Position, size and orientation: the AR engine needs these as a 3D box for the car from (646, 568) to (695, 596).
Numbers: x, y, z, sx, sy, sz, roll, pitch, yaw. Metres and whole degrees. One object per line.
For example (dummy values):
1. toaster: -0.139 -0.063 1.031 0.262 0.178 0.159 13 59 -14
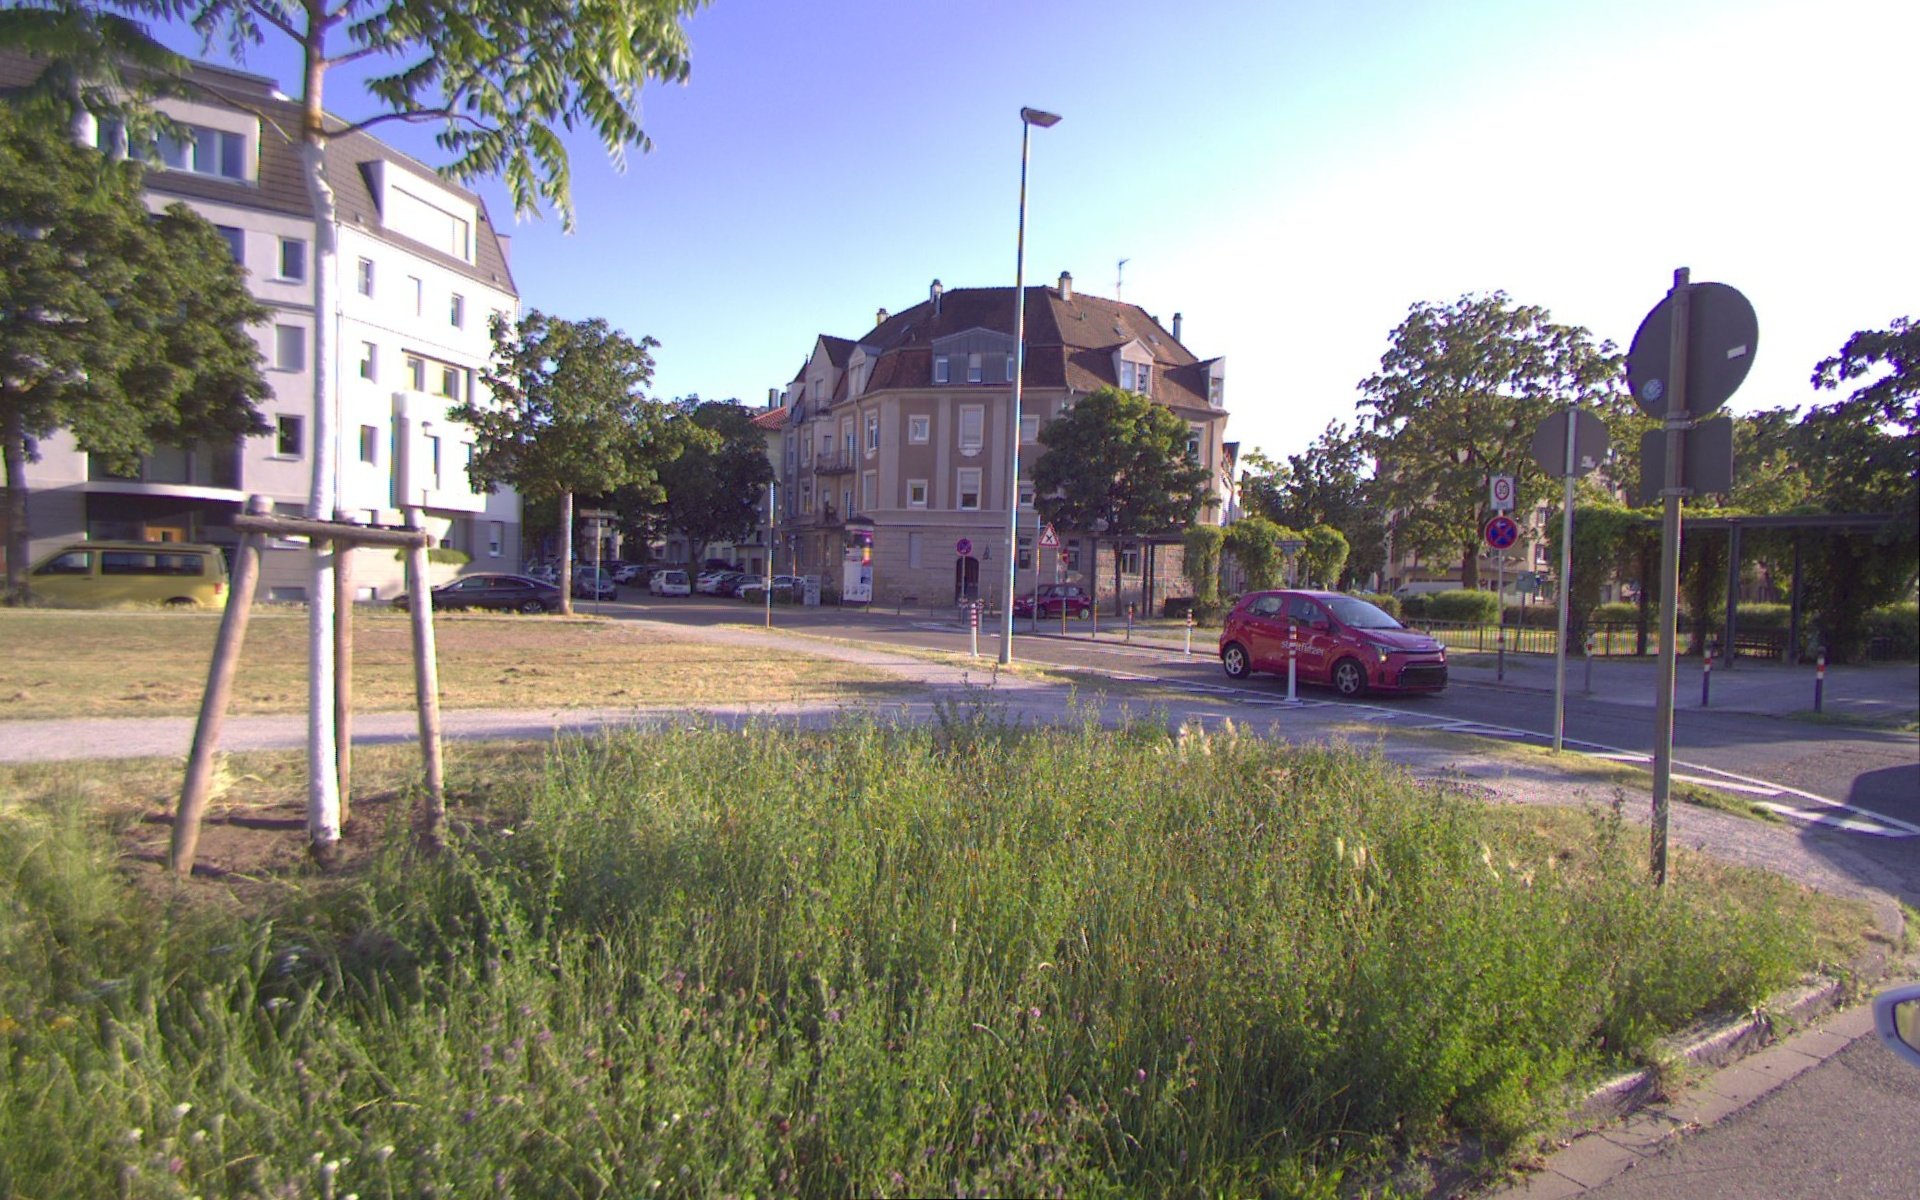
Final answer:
1. car: -16.401 -1.003 56.717 1.800 1.492 4.185 1 1 -28

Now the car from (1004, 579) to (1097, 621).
1. car: 4.341 0.006 48.055 4.039 1.764 1.797 1 3 -30

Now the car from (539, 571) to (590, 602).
1. car: -22.341 -0.786 56.700 1.870 1.612 4.052 1 1 -33

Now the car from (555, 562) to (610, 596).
1. car: -19.897 -1.124 52.858 1.870 1.612 4.052 1 1 -33

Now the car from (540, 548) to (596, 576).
1. car: -44.688 -4.291 114.505 5.501 3.008 2.449 1 2 -34

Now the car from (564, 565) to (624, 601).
1. car: -17.842 -0.845 48.872 1.870 1.612 4.052 1 1 -33

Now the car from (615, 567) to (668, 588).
1. car: -25.421 -1.768 80.217 3.701 1.579 1.710 1 2 -32

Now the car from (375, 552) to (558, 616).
1. car: -14.706 -0.449 30.035 4.783 1.691 1.774 2 1 -31

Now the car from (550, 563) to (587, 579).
1. car: -43.168 -3.200 110.829 3.568 1.682 1.634 1 2 -33

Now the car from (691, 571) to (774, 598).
1. car: -13.681 -0.948 60.477 4.449 1.546 1.933 -1 4 -37

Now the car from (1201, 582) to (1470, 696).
1. car: 5.721 0.529 15.766 1.748 1.546 3.746 2 0 -27

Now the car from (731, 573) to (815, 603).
1. car: -10.026 -0.637 53.899 4.017 1.526 1.845 1 2 -32

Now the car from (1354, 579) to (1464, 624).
1. car: 30.472 0.066 68.275 6.570 2.781 2.313 3 1 31

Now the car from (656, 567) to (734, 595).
1. car: -16.972 -1.199 64.337 4.491 1.663 1.857 1 2 -32

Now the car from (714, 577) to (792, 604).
1. car: -11.990 -0.550 58.231 4.110 1.467 1.658 0 2 -32

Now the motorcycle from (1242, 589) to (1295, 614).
1. motorcycle: 19.380 0.074 63.196 0.847 1.507 3.191 2 0 -42

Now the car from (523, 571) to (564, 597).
1. car: -25.374 -0.980 61.182 1.743 1.467 4.108 2 1 -30

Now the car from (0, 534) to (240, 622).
1. car: -21.523 -0.532 25.892 4.642 2.040 2.015 1 1 -32
